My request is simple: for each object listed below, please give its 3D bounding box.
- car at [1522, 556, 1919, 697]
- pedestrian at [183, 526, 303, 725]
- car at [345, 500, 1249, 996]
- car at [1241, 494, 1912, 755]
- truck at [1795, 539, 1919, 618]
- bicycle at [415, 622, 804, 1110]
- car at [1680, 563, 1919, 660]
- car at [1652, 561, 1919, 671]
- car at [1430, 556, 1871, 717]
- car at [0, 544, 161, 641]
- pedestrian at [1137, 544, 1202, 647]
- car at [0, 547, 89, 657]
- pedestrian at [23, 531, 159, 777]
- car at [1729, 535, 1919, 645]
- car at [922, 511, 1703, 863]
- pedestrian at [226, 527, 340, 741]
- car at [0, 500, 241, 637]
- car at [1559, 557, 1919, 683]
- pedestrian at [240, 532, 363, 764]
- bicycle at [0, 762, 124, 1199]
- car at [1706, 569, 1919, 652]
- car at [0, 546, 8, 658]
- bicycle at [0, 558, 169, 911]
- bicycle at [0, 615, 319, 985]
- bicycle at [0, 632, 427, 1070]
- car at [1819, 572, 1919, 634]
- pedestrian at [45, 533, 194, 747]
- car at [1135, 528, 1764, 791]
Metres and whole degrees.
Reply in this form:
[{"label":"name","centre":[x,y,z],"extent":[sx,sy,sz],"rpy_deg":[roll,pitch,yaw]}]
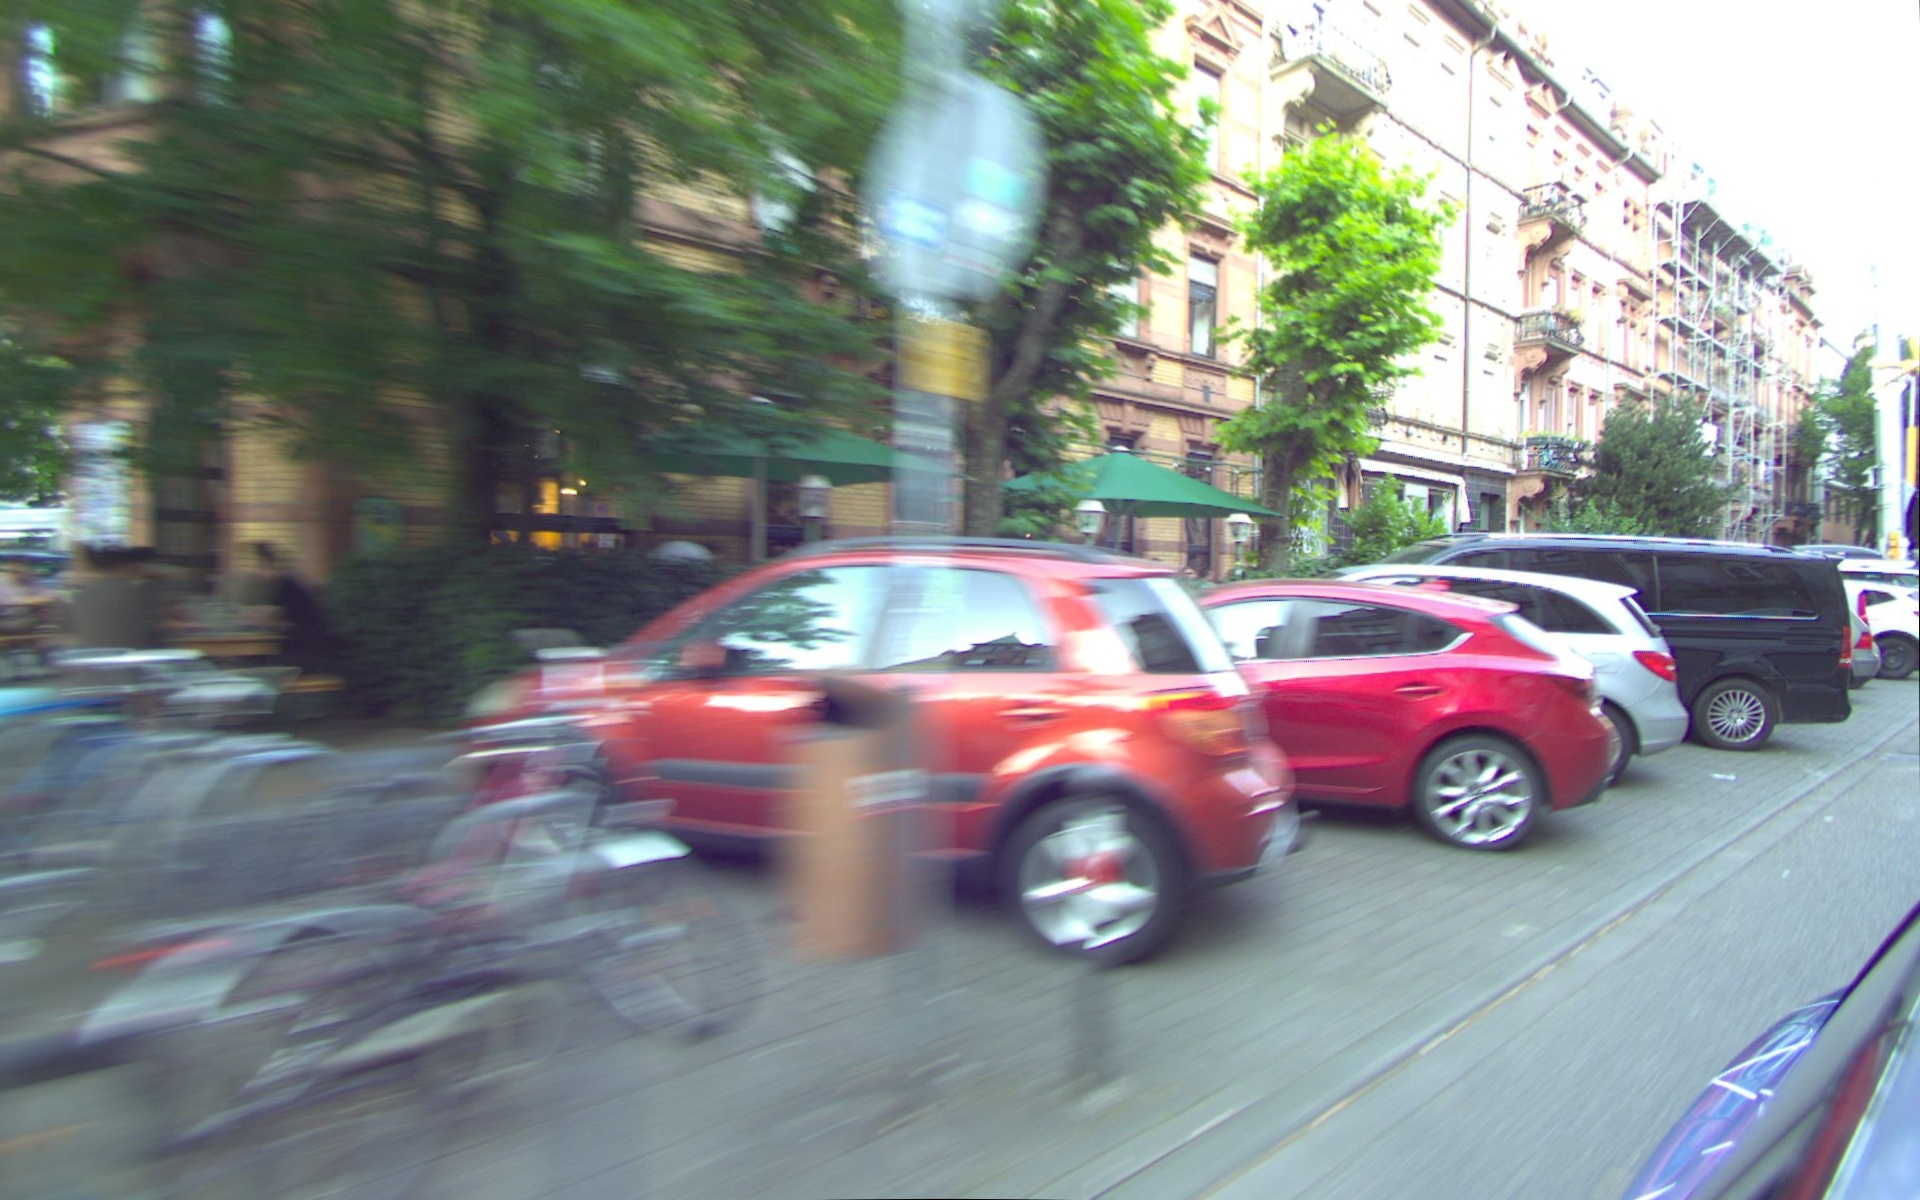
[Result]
[{"label":"car","centre":[10.337,0.272,14.069],"extent":[4.057,1.570,1.808],"rpy_deg":[4,3,19]},{"label":"pedestrian","centre":[-5.435,0.178,7.680],"extent":[0.511,1.427,0.611],"rpy_deg":[-1,0,38]},{"label":"car","centre":[-0.734,0.432,4.919],"extent":[3.997,1.648,1.683],"rpy_deg":[3,1,19]},{"label":"car","centre":[5.768,0.117,10.319],"extent":[5.354,2.097,1.927],"rpy_deg":[3,3,12]},{"label":"truck","centre":[38.563,-0.878,41.299],"extent":[2.478,3.115,6.499],"rpy_deg":[-1,1,-36]},{"label":"bicycle","centre":[-1.179,0.706,3.223],"extent":[1.543,1.175,0.360],"rpy_deg":[3,2,36]},{"label":"car","centre":[16.693,0.197,19.507],"extent":[4.115,1.610,1.874],"rpy_deg":[4,2,20]},{"label":"car","centre":[14.661,0.230,17.462],"extent":[4.058,1.610,1.807],"rpy_deg":[4,3,20]},{"label":"car","centre":[8.203,0.336,12.520],"extent":[4.057,1.570,1.808],"rpy_deg":[4,3,19]},{"label":"car","centre":[-16.550,-0.106,17.006],"extent":[4.449,1.545,2.004],"rpy_deg":[-1,1,-14]},{"label":"pedestrian","centre":[2.901,-0.071,13.993],"extent":[0.686,1.383,0.588],"rpy_deg":[-1,0,-44]},{"label":"car","centre":[-15.725,0.057,14.722],"extent":[4.203,1.545,1.915],"rpy_deg":[-1,1,-14]},{"label":"pedestrian","centre":[-5.372,0.308,6.255],"extent":[0.636,1.427,0.507],"rpy_deg":[-1,0,38]},{"label":"car","centre":[20.839,-0.249,23.029],"extent":[4.886,2.391,1.984],"rpy_deg":[2,2,25]},{"label":"car","centre":[2.020,0.384,6.728],"extent":[4.160,1.708,1.927],"rpy_deg":[3,3,12]},{"label":"pedestrian","centre":[-4.778,0.223,7.146],"extent":[0.551,1.427,0.507],"rpy_deg":[-1,0,38]},{"label":"car","centre":[-17.296,-0.582,19.268],"extent":[5.426,2.451,2.250],"rpy_deg":[-1,1,-17]},{"label":"car","centre":[11.965,0.231,15.778],"extent":[4.047,1.610,1.812],"rpy_deg":[3,3,13]},{"label":"pedestrian","centre":[-4.291,0.292,6.595],"extent":[0.551,1.427,0.507],"rpy_deg":[-1,0,38]},{"label":"bicycle","centre":[-1.914,0.839,1.102],"extent":[1.527,1.077,0.364],"rpy_deg":[-2,1,-44]},{"label":"car","centre":[18.556,0.187,21.363],"extent":[4.118,1.610,1.872],"rpy_deg":[2,2,22]},{"label":"car","centre":[-15.065,0.079,12.646],"extent":[4.203,1.545,1.915],"rpy_deg":[-1,1,-14]},{"label":"bicycle","centre":[-3.952,0.507,3.573],"extent":[0.592,1.304,1.755],"rpy_deg":[-1,1,23]},{"label":"bicycle","centre":[-3.203,0.647,3.397],"extent":[0.592,1.076,1.756],"rpy_deg":[3,3,23]},{"label":"bicycle","centre":[-2.633,0.684,3.135],"extent":[0.592,1.077,1.755],"rpy_deg":[-1,1,23]},{"label":"car","centre":[25.163,0.090,26.361],"extent":[3.826,1.535,1.833],"rpy_deg":[2,2,25]},{"label":"pedestrian","centre":[-5.882,0.264,7.103],"extent":[0.507,1.427,0.616],"rpy_deg":[-1,0,17]},{"label":"car","centre":[3.704,0.331,8.445],"extent":[4.168,1.642,1.924],"rpy_deg":[4,3,17]}]
